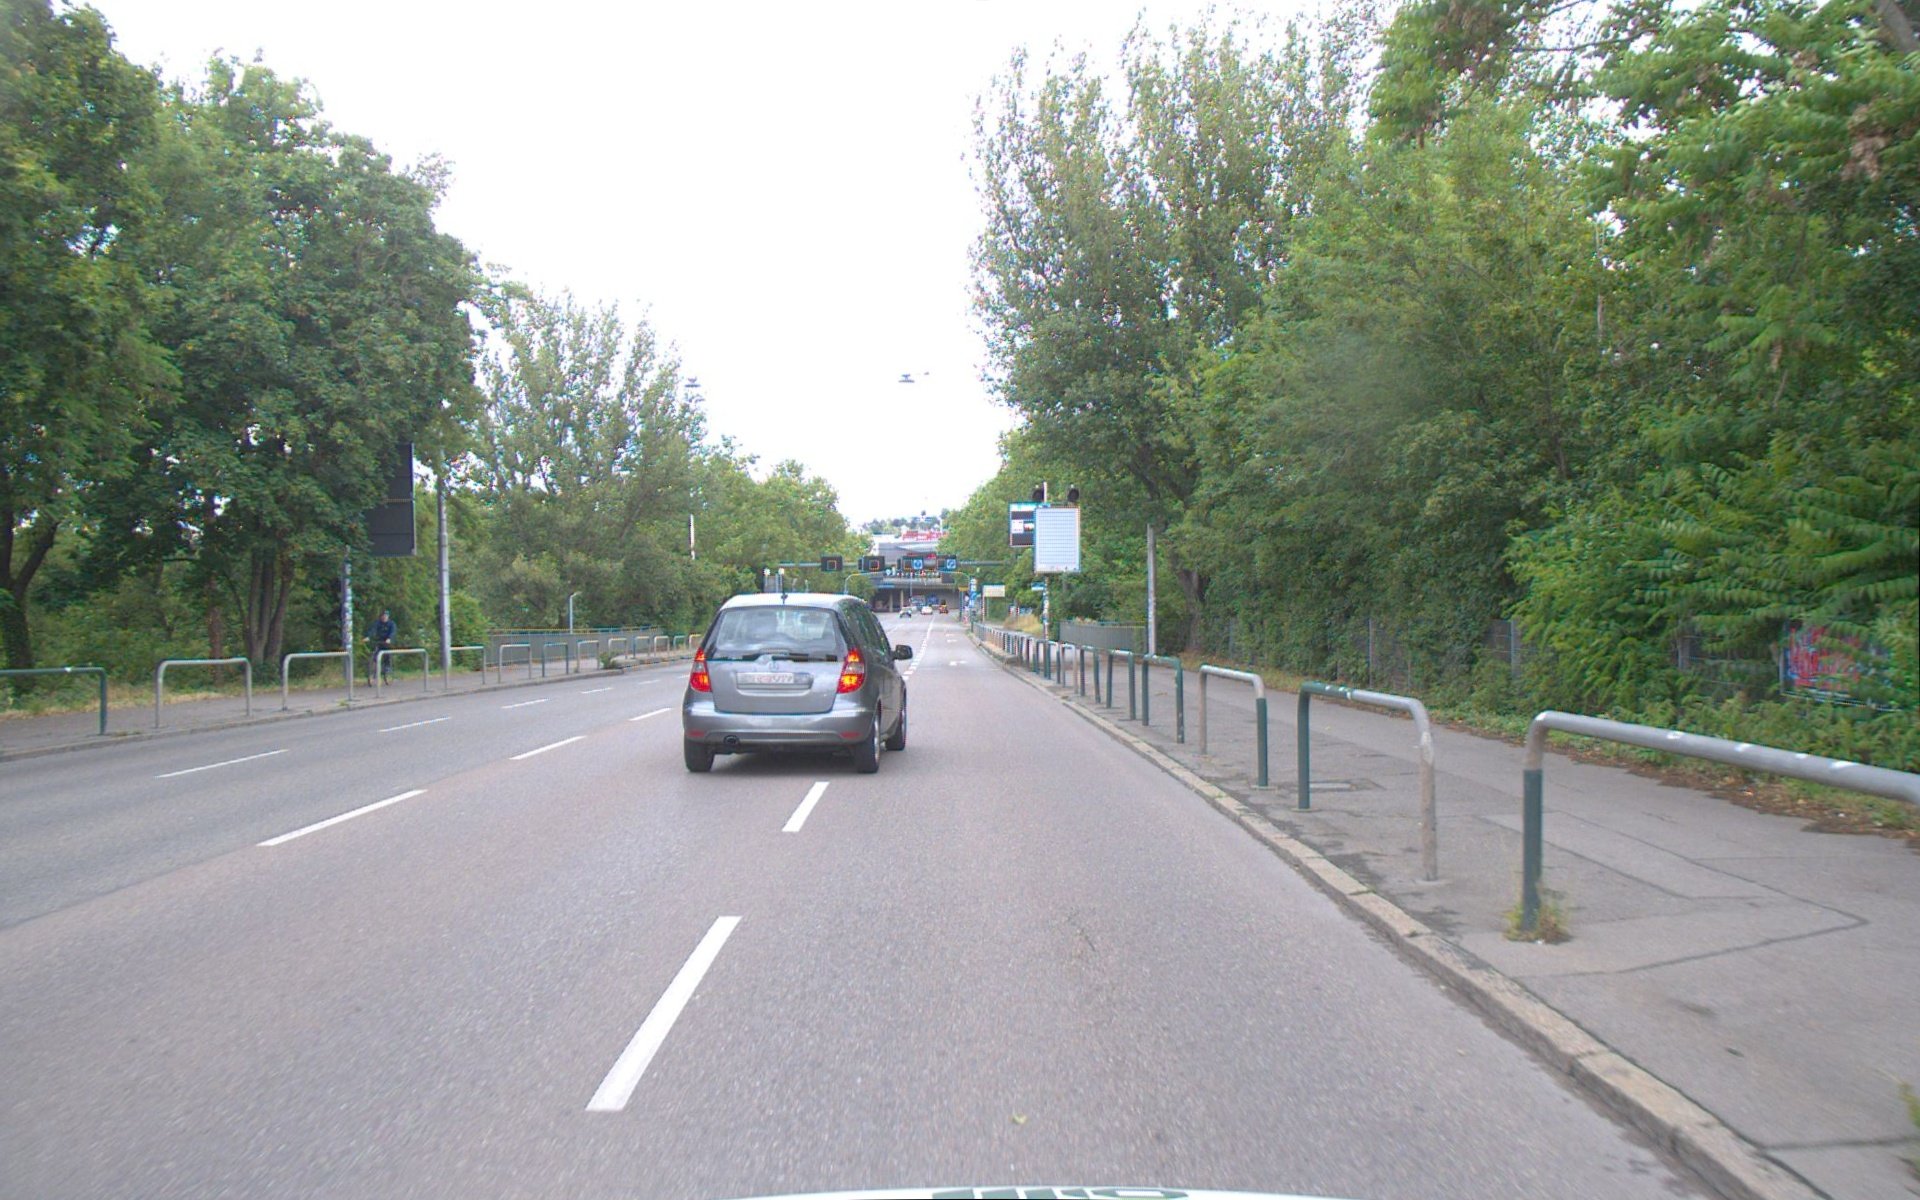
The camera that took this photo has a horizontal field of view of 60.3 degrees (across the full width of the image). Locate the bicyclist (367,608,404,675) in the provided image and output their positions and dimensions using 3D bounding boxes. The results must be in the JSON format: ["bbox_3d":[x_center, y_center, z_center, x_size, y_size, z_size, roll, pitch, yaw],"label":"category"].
[{"bbox_3d":[-13.379,0.957,38.548,0.504,1.543,0.984,-1,-1,-2],"label":"bicyclist"}]

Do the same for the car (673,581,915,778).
[{"bbox_3d":[-1.458,0.705,15.995,1.788,1.645,4.034,1,-1,2],"label":"car"}]

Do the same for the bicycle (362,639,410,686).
[{"bbox_3d":[-13.375,1.446,38.578,0.475,1.019,2.001,-1,0,-2],"label":"bicycle"}]
